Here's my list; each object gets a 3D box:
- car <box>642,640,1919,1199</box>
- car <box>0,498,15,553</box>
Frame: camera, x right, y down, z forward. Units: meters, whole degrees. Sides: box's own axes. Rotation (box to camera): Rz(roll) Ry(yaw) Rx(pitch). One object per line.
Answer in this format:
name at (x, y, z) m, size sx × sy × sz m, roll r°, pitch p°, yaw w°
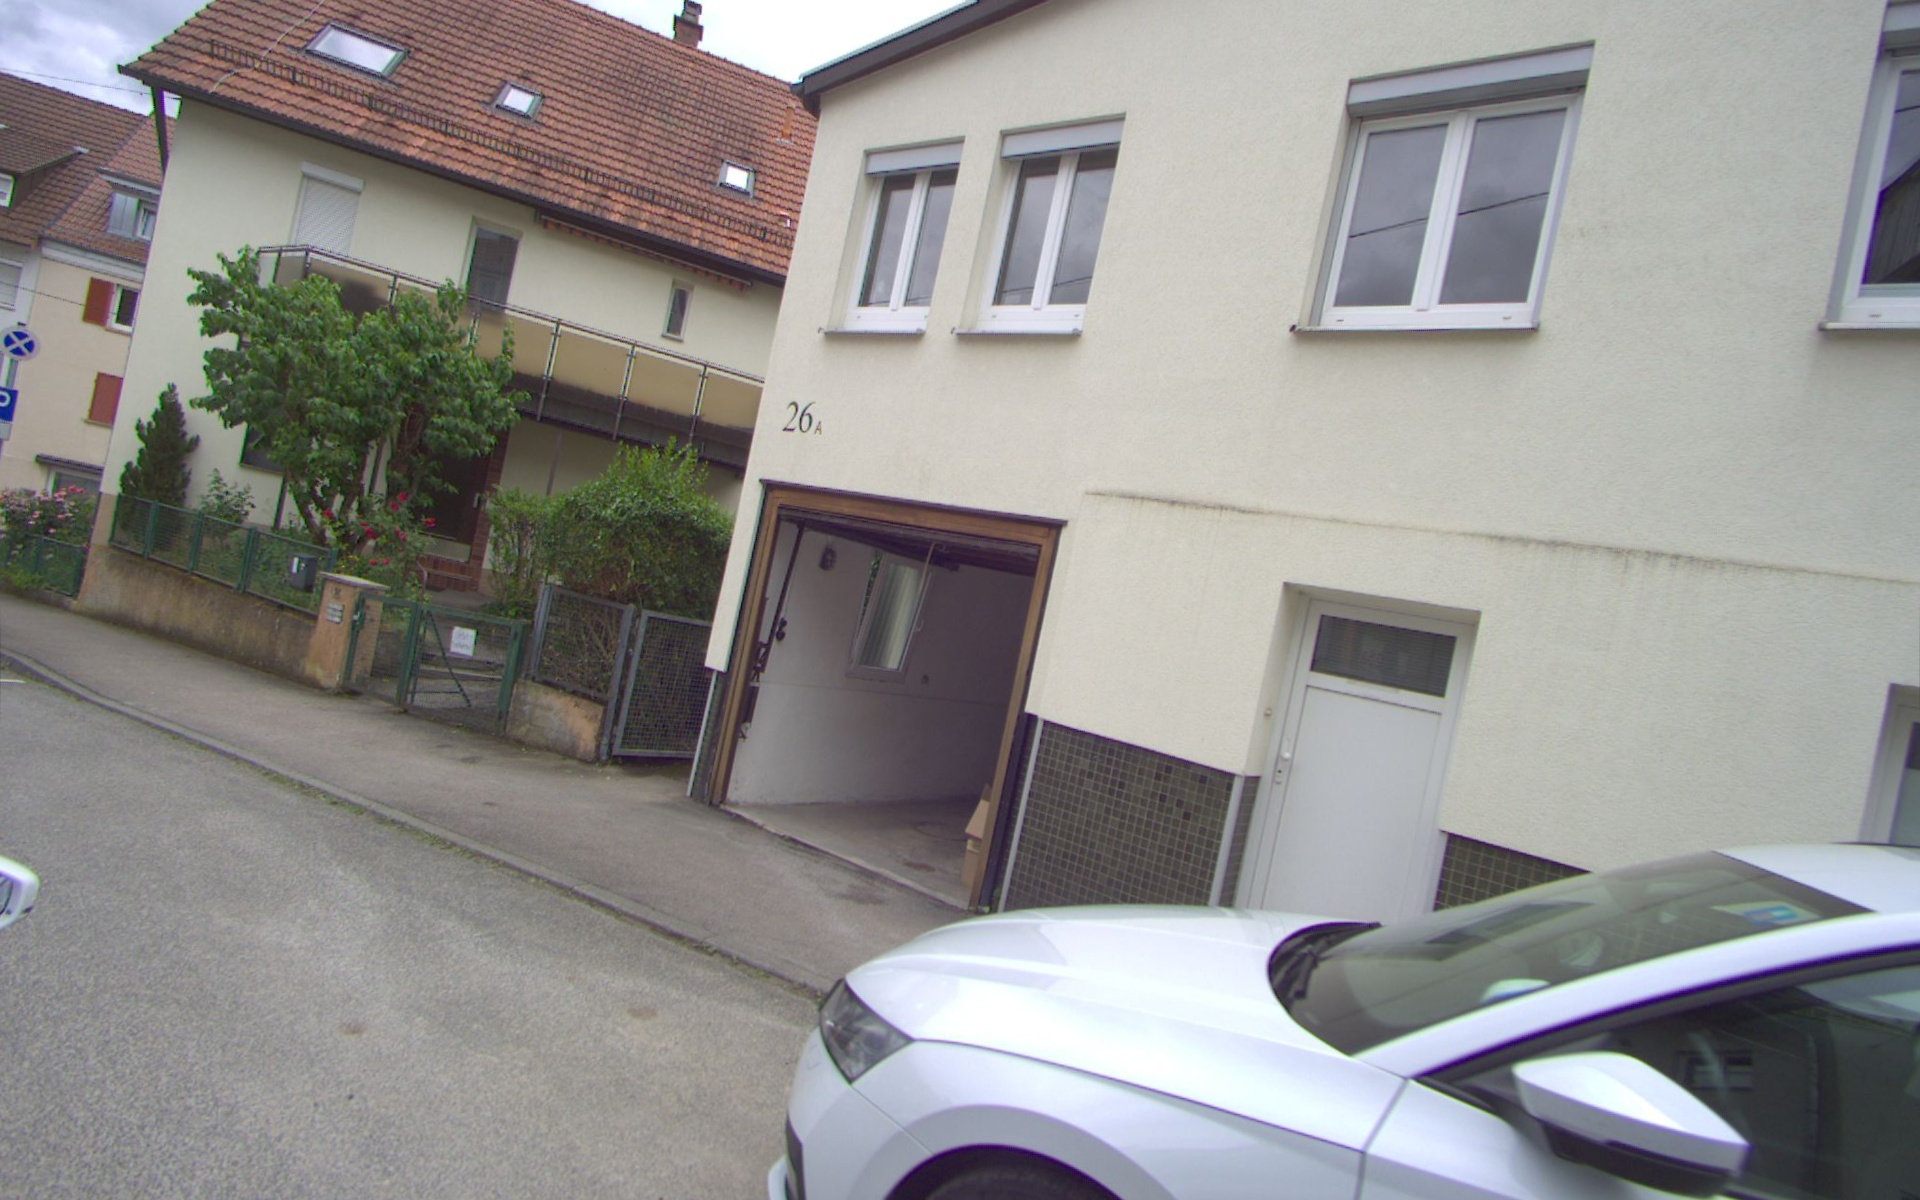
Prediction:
car at (1.658, 1.145, 1.799) m, size 4.225 × 1.460 × 1.802 m, roll 6°, pitch -5°, yaw 30°
car at (-29.558, -2.491, 28.378) m, size 3.644 × 1.573 × 1.692 m, roll 11°, pitch -3°, yaw -17°
